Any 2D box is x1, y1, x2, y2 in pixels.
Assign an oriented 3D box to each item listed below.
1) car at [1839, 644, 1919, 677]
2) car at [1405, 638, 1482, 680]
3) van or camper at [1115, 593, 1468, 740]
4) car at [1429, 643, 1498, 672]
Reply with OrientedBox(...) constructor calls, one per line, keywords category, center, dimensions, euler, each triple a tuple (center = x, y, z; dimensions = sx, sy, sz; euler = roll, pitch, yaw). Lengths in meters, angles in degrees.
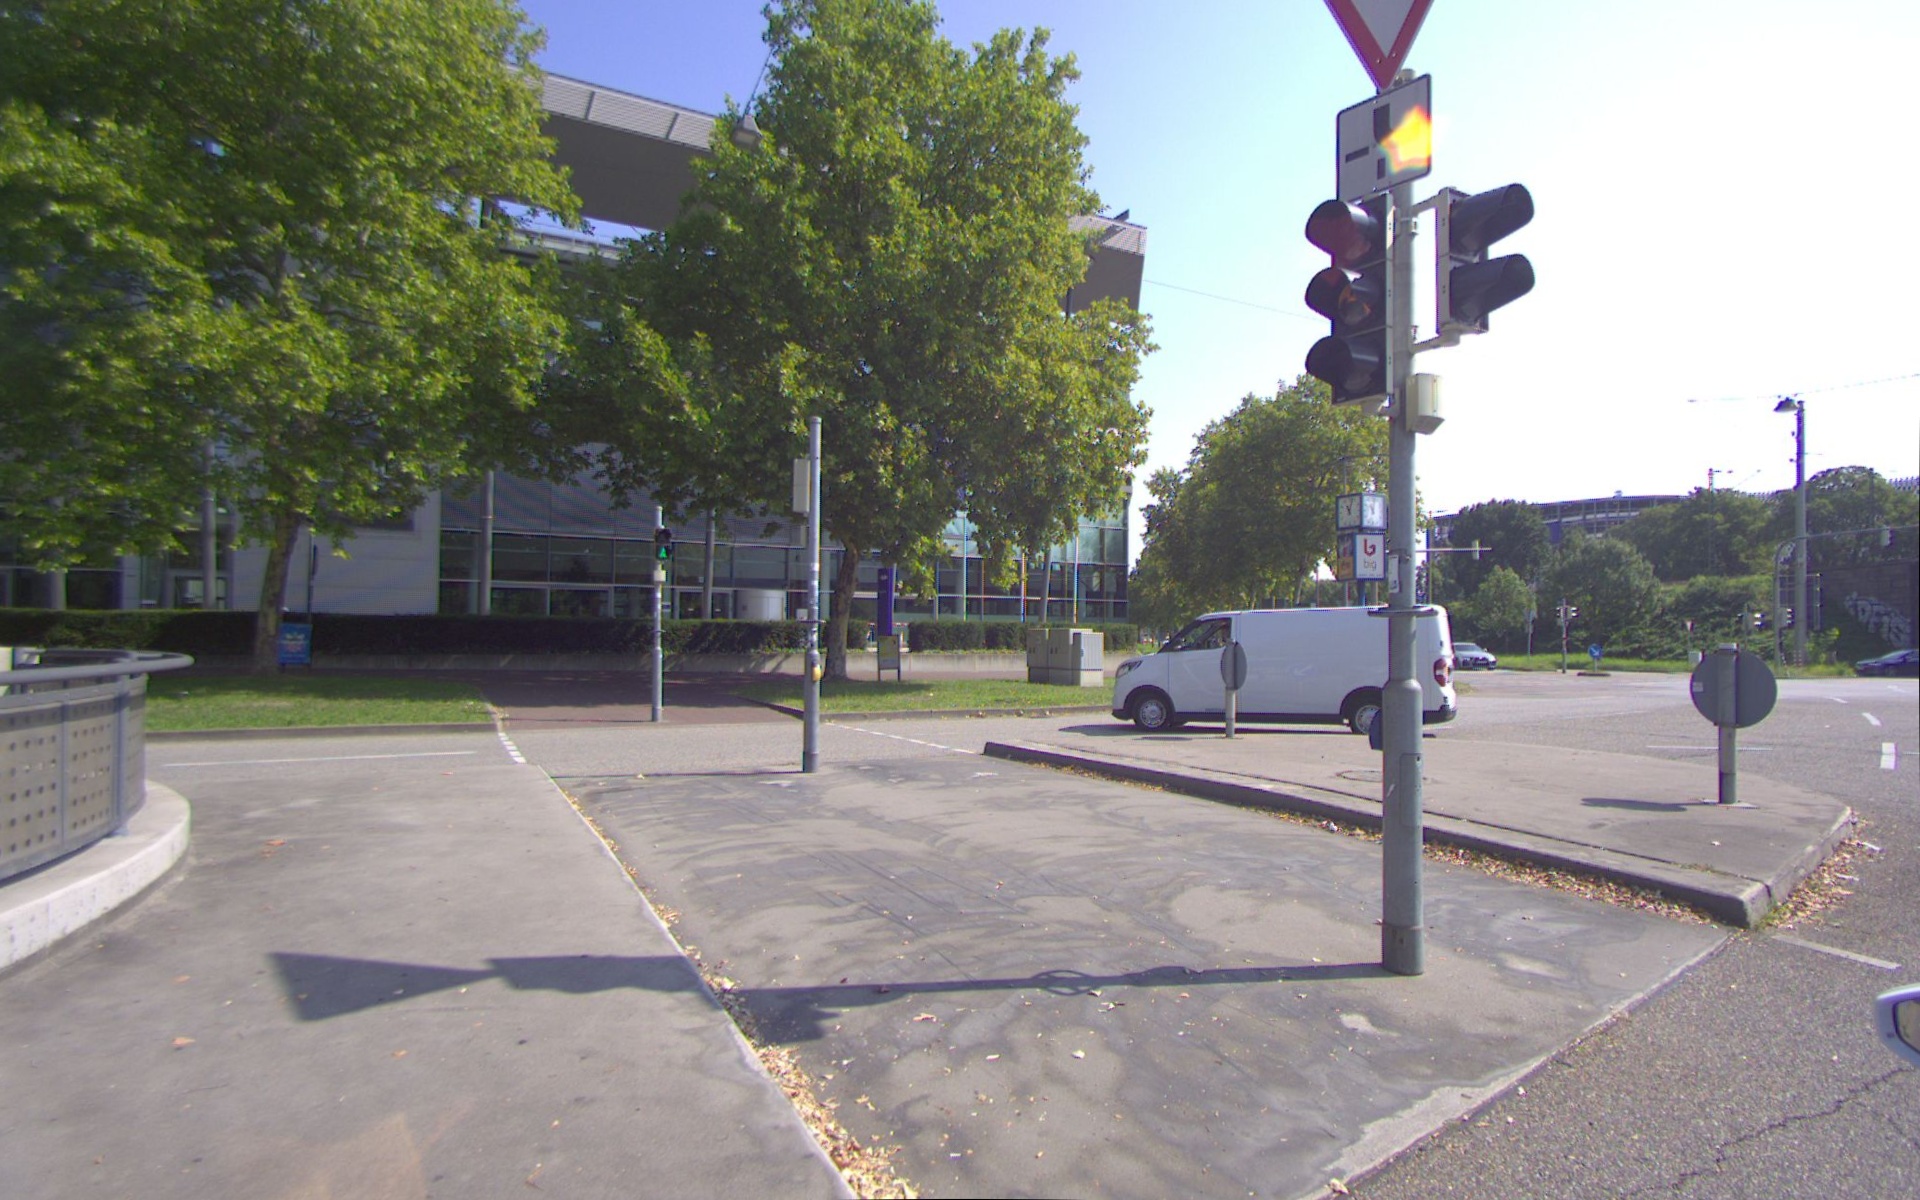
OrientedBox(category="car", center=(47.447, 3.082, 50.931), dimensions=(3.919, 1.447, 1.787), euler=(2, 0, 15))
OrientedBox(category="car", center=(24.462, 2.948, 51.041), dimensions=(1.894, 1.983, 5.216), euler=(0, -2, 6))
OrientedBox(category="van or camper", center=(5.019, 1.007, 15.487), dimensions=(4.862, 1.972, 1.843), euler=(-2, -3, 31))
OrientedBox(category="car", center=(27.369, 3.130, 54.776), dimensions=(1.804, 1.462, 4.610), euler=(-1, -3, 6))
